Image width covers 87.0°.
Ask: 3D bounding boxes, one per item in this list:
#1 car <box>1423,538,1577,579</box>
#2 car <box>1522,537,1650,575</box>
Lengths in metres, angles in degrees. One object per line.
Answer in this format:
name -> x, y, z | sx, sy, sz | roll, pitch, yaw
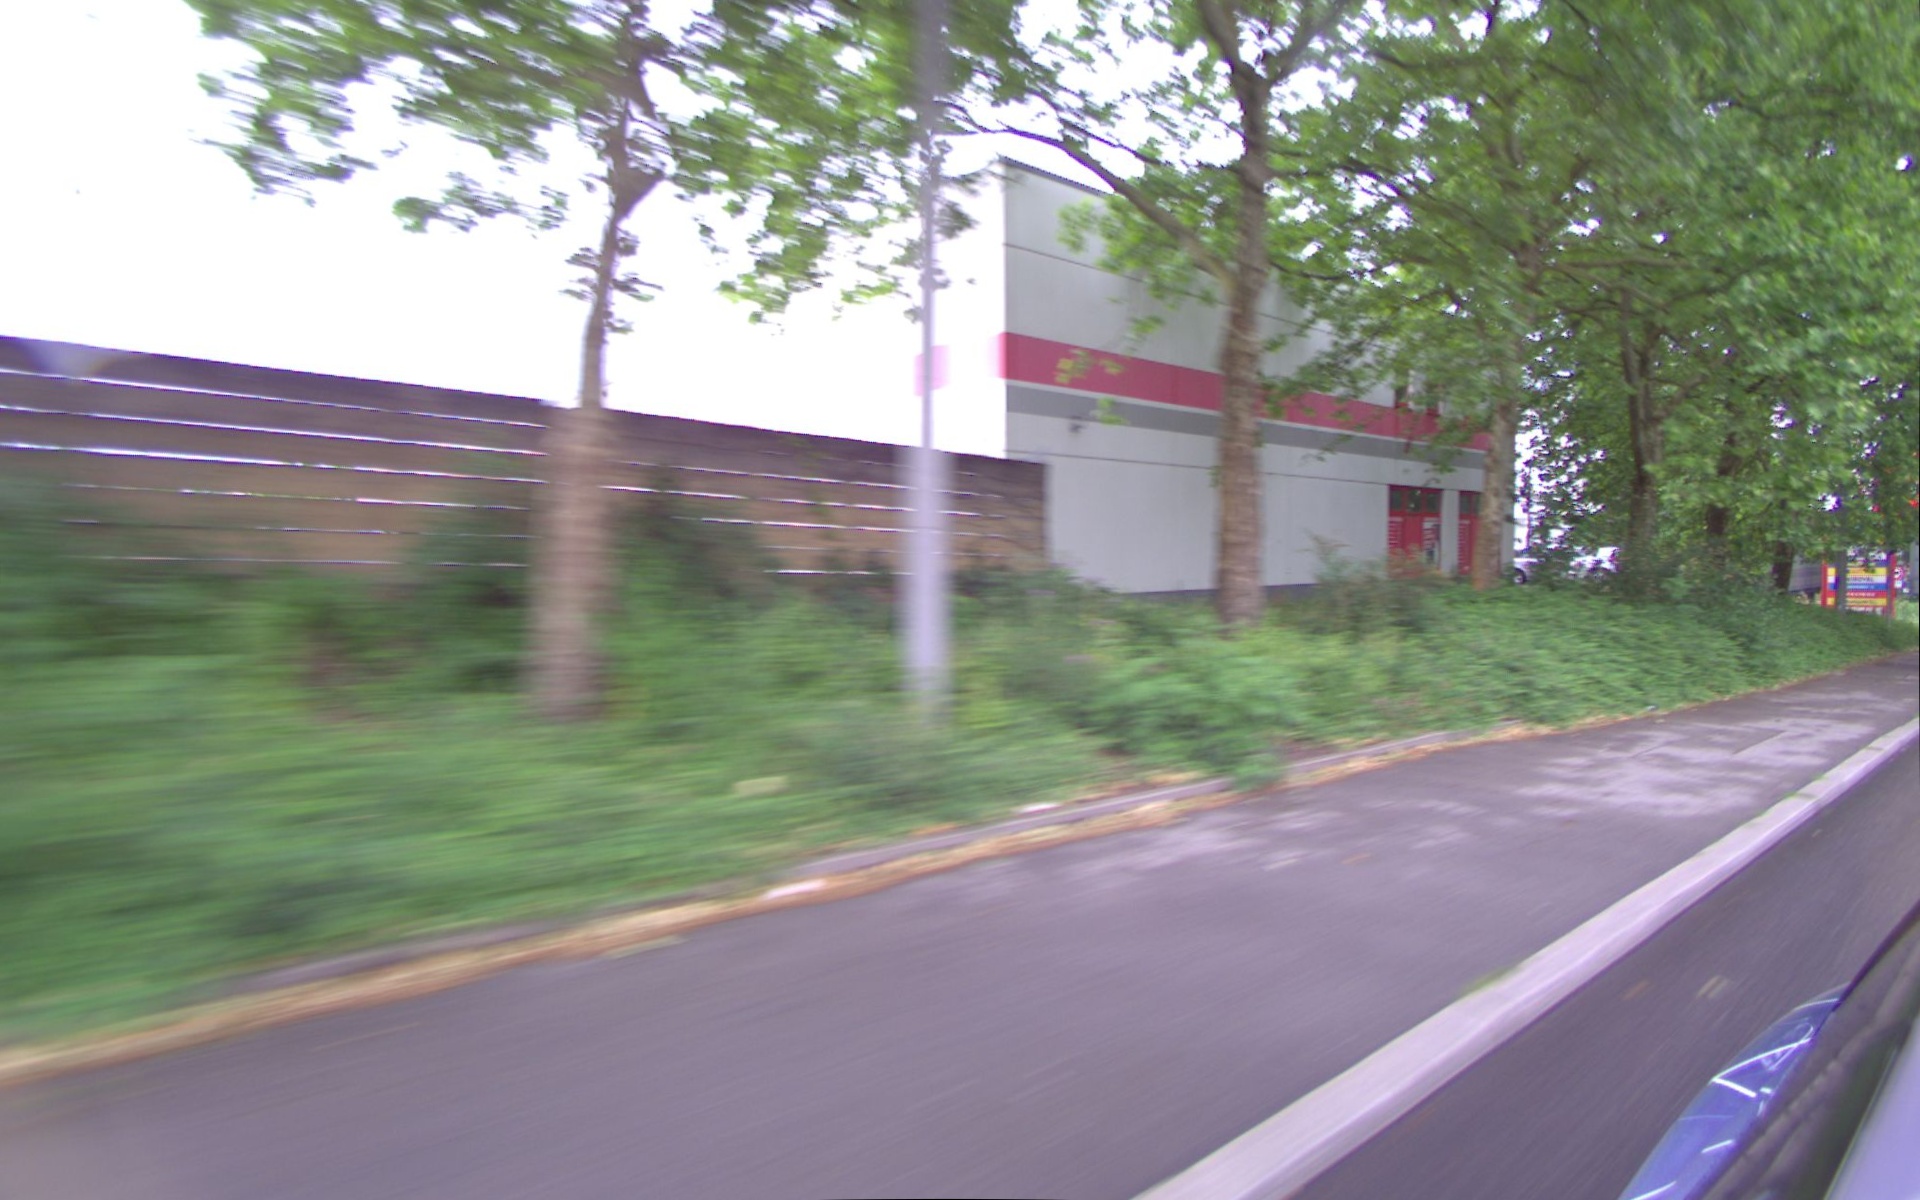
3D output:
car -> 19.478, -1.454, 36.653 | 1.769, 1.350, 4.619 | 0, 1, -40
car -> 25.581, -1.769, 41.454 | 1.870, 1.393, 4.107 | -1, 1, -41
